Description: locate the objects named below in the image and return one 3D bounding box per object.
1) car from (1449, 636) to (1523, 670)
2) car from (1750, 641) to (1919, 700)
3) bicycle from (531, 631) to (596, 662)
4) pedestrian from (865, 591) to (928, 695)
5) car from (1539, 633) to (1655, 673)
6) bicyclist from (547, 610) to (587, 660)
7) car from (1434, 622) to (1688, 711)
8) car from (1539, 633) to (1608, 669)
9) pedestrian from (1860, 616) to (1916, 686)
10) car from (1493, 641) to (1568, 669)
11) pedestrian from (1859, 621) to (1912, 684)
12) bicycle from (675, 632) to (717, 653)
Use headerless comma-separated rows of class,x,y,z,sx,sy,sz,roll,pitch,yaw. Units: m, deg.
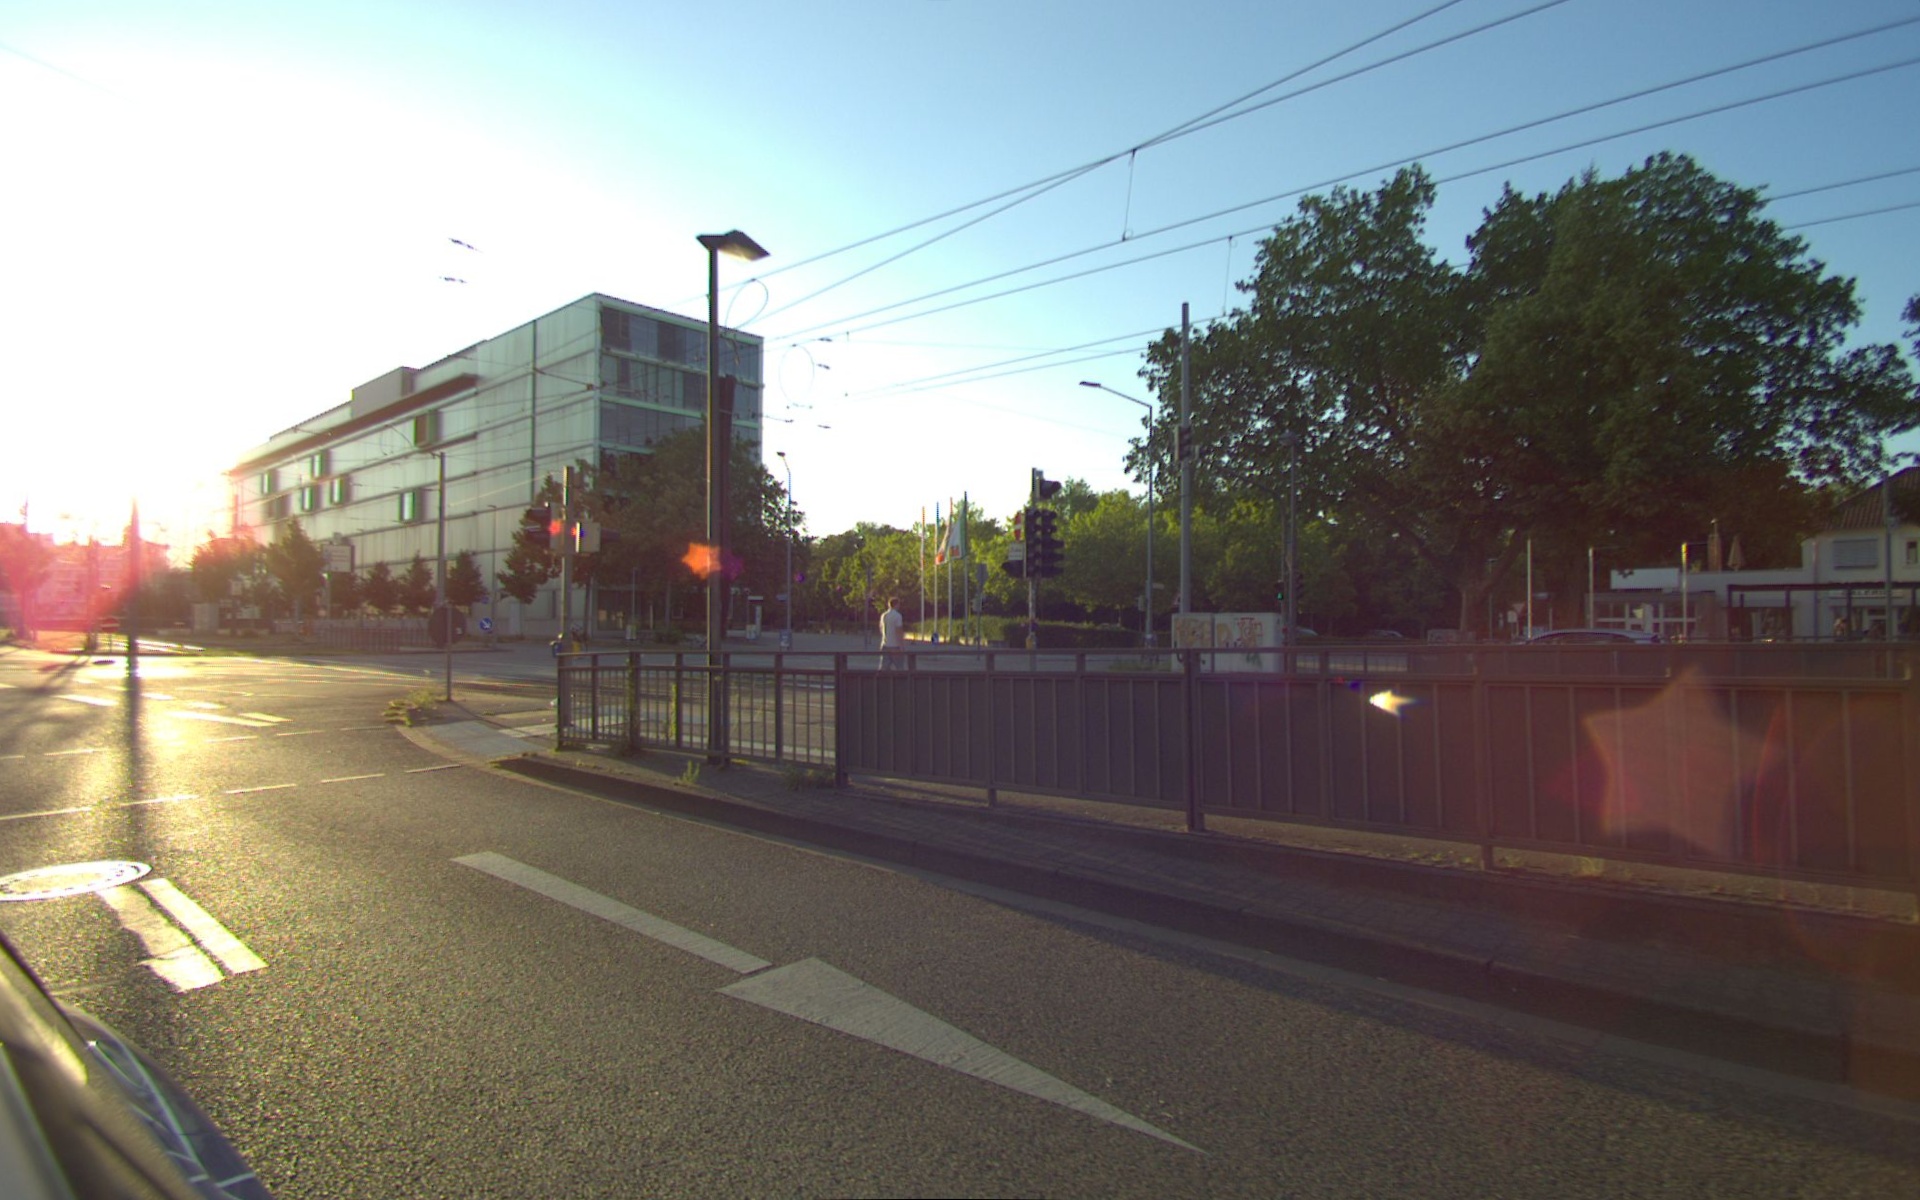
car,30.315,3.021,58.334,3.807,1.889,1.880,1,-2,-26
car,26.356,2.056,30.099,1.970,1.589,4.247,2,-2,-44
bicycle,-14.179,1.643,36.238,0.636,1.076,2.092,-1,-2,43
pedestrian,-1.142,0.751,18.142,0.764,1.804,0.791,1,-1,42
car,30.698,2.509,48.865,1.918,1.849,4.397,2,-2,-41
bicyclist,-14.102,1.253,36.299,1.035,1.731,0.982,-1,-2,43
car,13.004,1.364,22.070,4.544,1.741,1.837,-1,-2,40
car,37.530,3.096,61.919,3.931,2.063,1.927,1,-2,-29
pedestrian,24.019,1.310,26.195,0.882,1.768,0.723,1,-2,-22
car,33.921,3.253,60.165,3.931,1.586,2.006,1,-2,-27
pedestrian,24.891,1.404,27.222,0.882,1.651,0.723,1,-2,-22
bicycle,-15.075,2.418,57.868,0.701,1.144,2.360,-1,-2,40
